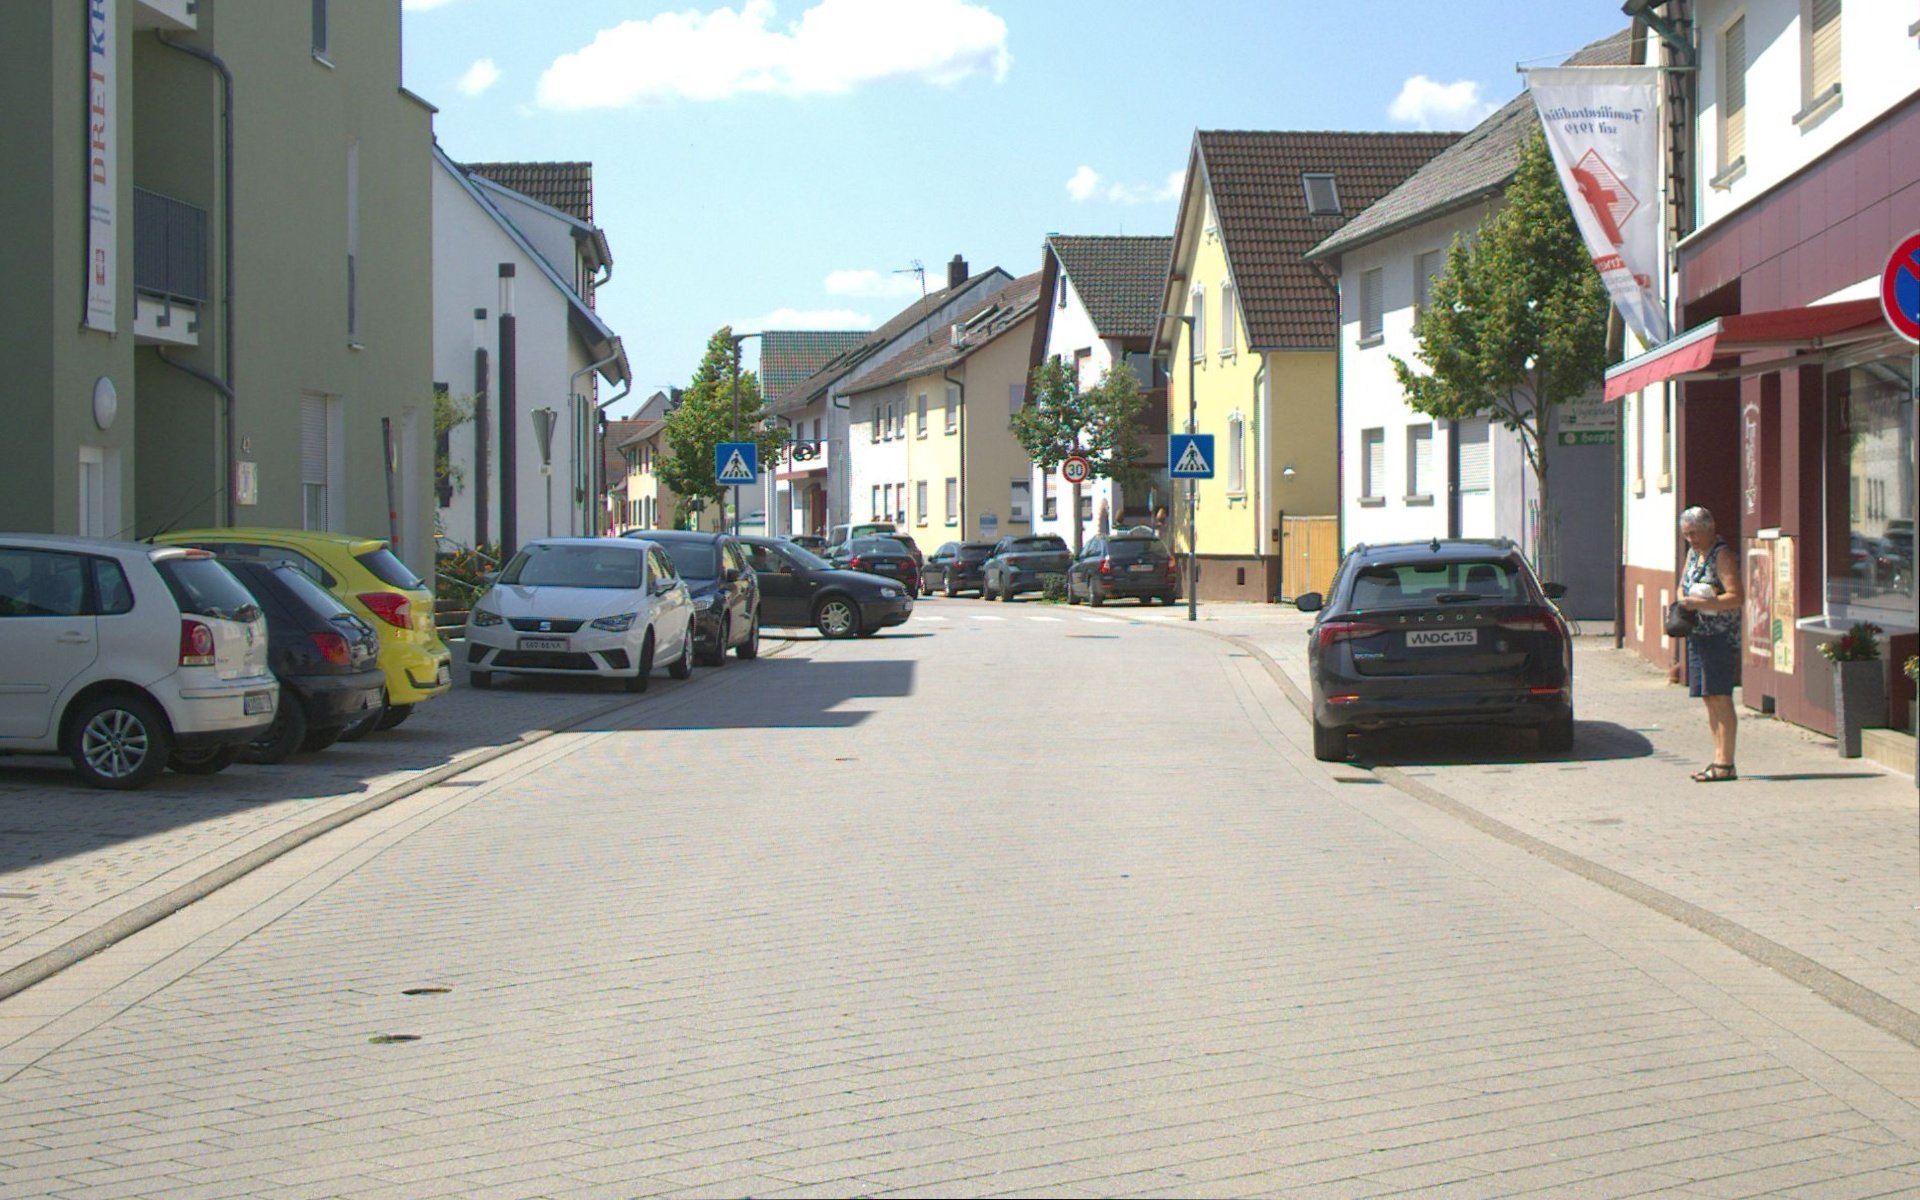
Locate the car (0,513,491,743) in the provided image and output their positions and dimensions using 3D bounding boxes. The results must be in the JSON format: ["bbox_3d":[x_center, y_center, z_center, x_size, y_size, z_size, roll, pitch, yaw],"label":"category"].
[{"bbox_3d":[-5.541,0.179,25.751,3.692,1.520,1.672,2,1,5],"label":"car"}]

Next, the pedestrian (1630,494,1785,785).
[{"bbox_3d":[4.366,0.223,20.119,0.730,1.634,0.749,-3,0,6],"label":"pedestrian"}]

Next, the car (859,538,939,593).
[{"bbox_3d":[-1.831,-1.050,102.300,1.877,1.586,4.001,-1,1,-8],"label":"car"}]

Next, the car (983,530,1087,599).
[{"bbox_3d":[1.742,-0.860,80.886,1.846,1.557,3.694,-1,1,-8],"label":"car"}]

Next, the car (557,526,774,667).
[{"bbox_3d":[-3.320,-0.085,39.531,1.813,1.485,4.277,2,1,4],"label":"car"}]

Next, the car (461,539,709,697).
[{"bbox_3d":[-3.658,0.136,34.126,1.758,1.406,3.877,2,1,4],"label":"car"}]

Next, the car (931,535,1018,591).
[{"bbox_3d":[0.358,-0.964,88.407,1.710,1.382,3.707,-1,1,-8],"label":"car"}]

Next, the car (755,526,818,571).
[{"bbox_3d":[-5.915,-1.752,116.958,1.754,1.487,4.001,-1,1,-8],"label":"car"}]

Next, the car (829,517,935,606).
[{"bbox_3d":[-1.908,-0.946,82.615,1.993,2.051,4.375,-1,1,-9],"label":"car"}]

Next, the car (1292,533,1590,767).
[{"bbox_3d":[3.368,0.283,24.518,1.858,1.454,4.585,-2,1,7],"label":"car"}]

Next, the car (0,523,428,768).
[{"bbox_3d":[-5.760,0.250,23.123,3.987,1.436,1.691,3,1,4],"label":"car"}]

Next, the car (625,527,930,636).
[{"bbox_3d":[-2.555,-0.272,48.707,4.106,1.433,1.765,-1,1,4],"label":"car"}]

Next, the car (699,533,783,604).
[{"bbox_3d":[-4.910,-0.722,76.646,1.747,1.525,4.001,1,1,-5],"label":"car"}]

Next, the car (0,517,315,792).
[{"bbox_3d":[-6.081,0.250,20.786,3.902,1.497,1.750,3,1,6],"label":"car"}]

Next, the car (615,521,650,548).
[{"bbox_3d":[-17.360,-3.479,182.214,1.687,1.447,3.794,-1,1,-8],"label":"car"}]

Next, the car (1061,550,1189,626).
[{"bbox_3d":[3.385,-0.268,71.458,1.828,1.466,4.277,-2,1,-8],"label":"car"}]
